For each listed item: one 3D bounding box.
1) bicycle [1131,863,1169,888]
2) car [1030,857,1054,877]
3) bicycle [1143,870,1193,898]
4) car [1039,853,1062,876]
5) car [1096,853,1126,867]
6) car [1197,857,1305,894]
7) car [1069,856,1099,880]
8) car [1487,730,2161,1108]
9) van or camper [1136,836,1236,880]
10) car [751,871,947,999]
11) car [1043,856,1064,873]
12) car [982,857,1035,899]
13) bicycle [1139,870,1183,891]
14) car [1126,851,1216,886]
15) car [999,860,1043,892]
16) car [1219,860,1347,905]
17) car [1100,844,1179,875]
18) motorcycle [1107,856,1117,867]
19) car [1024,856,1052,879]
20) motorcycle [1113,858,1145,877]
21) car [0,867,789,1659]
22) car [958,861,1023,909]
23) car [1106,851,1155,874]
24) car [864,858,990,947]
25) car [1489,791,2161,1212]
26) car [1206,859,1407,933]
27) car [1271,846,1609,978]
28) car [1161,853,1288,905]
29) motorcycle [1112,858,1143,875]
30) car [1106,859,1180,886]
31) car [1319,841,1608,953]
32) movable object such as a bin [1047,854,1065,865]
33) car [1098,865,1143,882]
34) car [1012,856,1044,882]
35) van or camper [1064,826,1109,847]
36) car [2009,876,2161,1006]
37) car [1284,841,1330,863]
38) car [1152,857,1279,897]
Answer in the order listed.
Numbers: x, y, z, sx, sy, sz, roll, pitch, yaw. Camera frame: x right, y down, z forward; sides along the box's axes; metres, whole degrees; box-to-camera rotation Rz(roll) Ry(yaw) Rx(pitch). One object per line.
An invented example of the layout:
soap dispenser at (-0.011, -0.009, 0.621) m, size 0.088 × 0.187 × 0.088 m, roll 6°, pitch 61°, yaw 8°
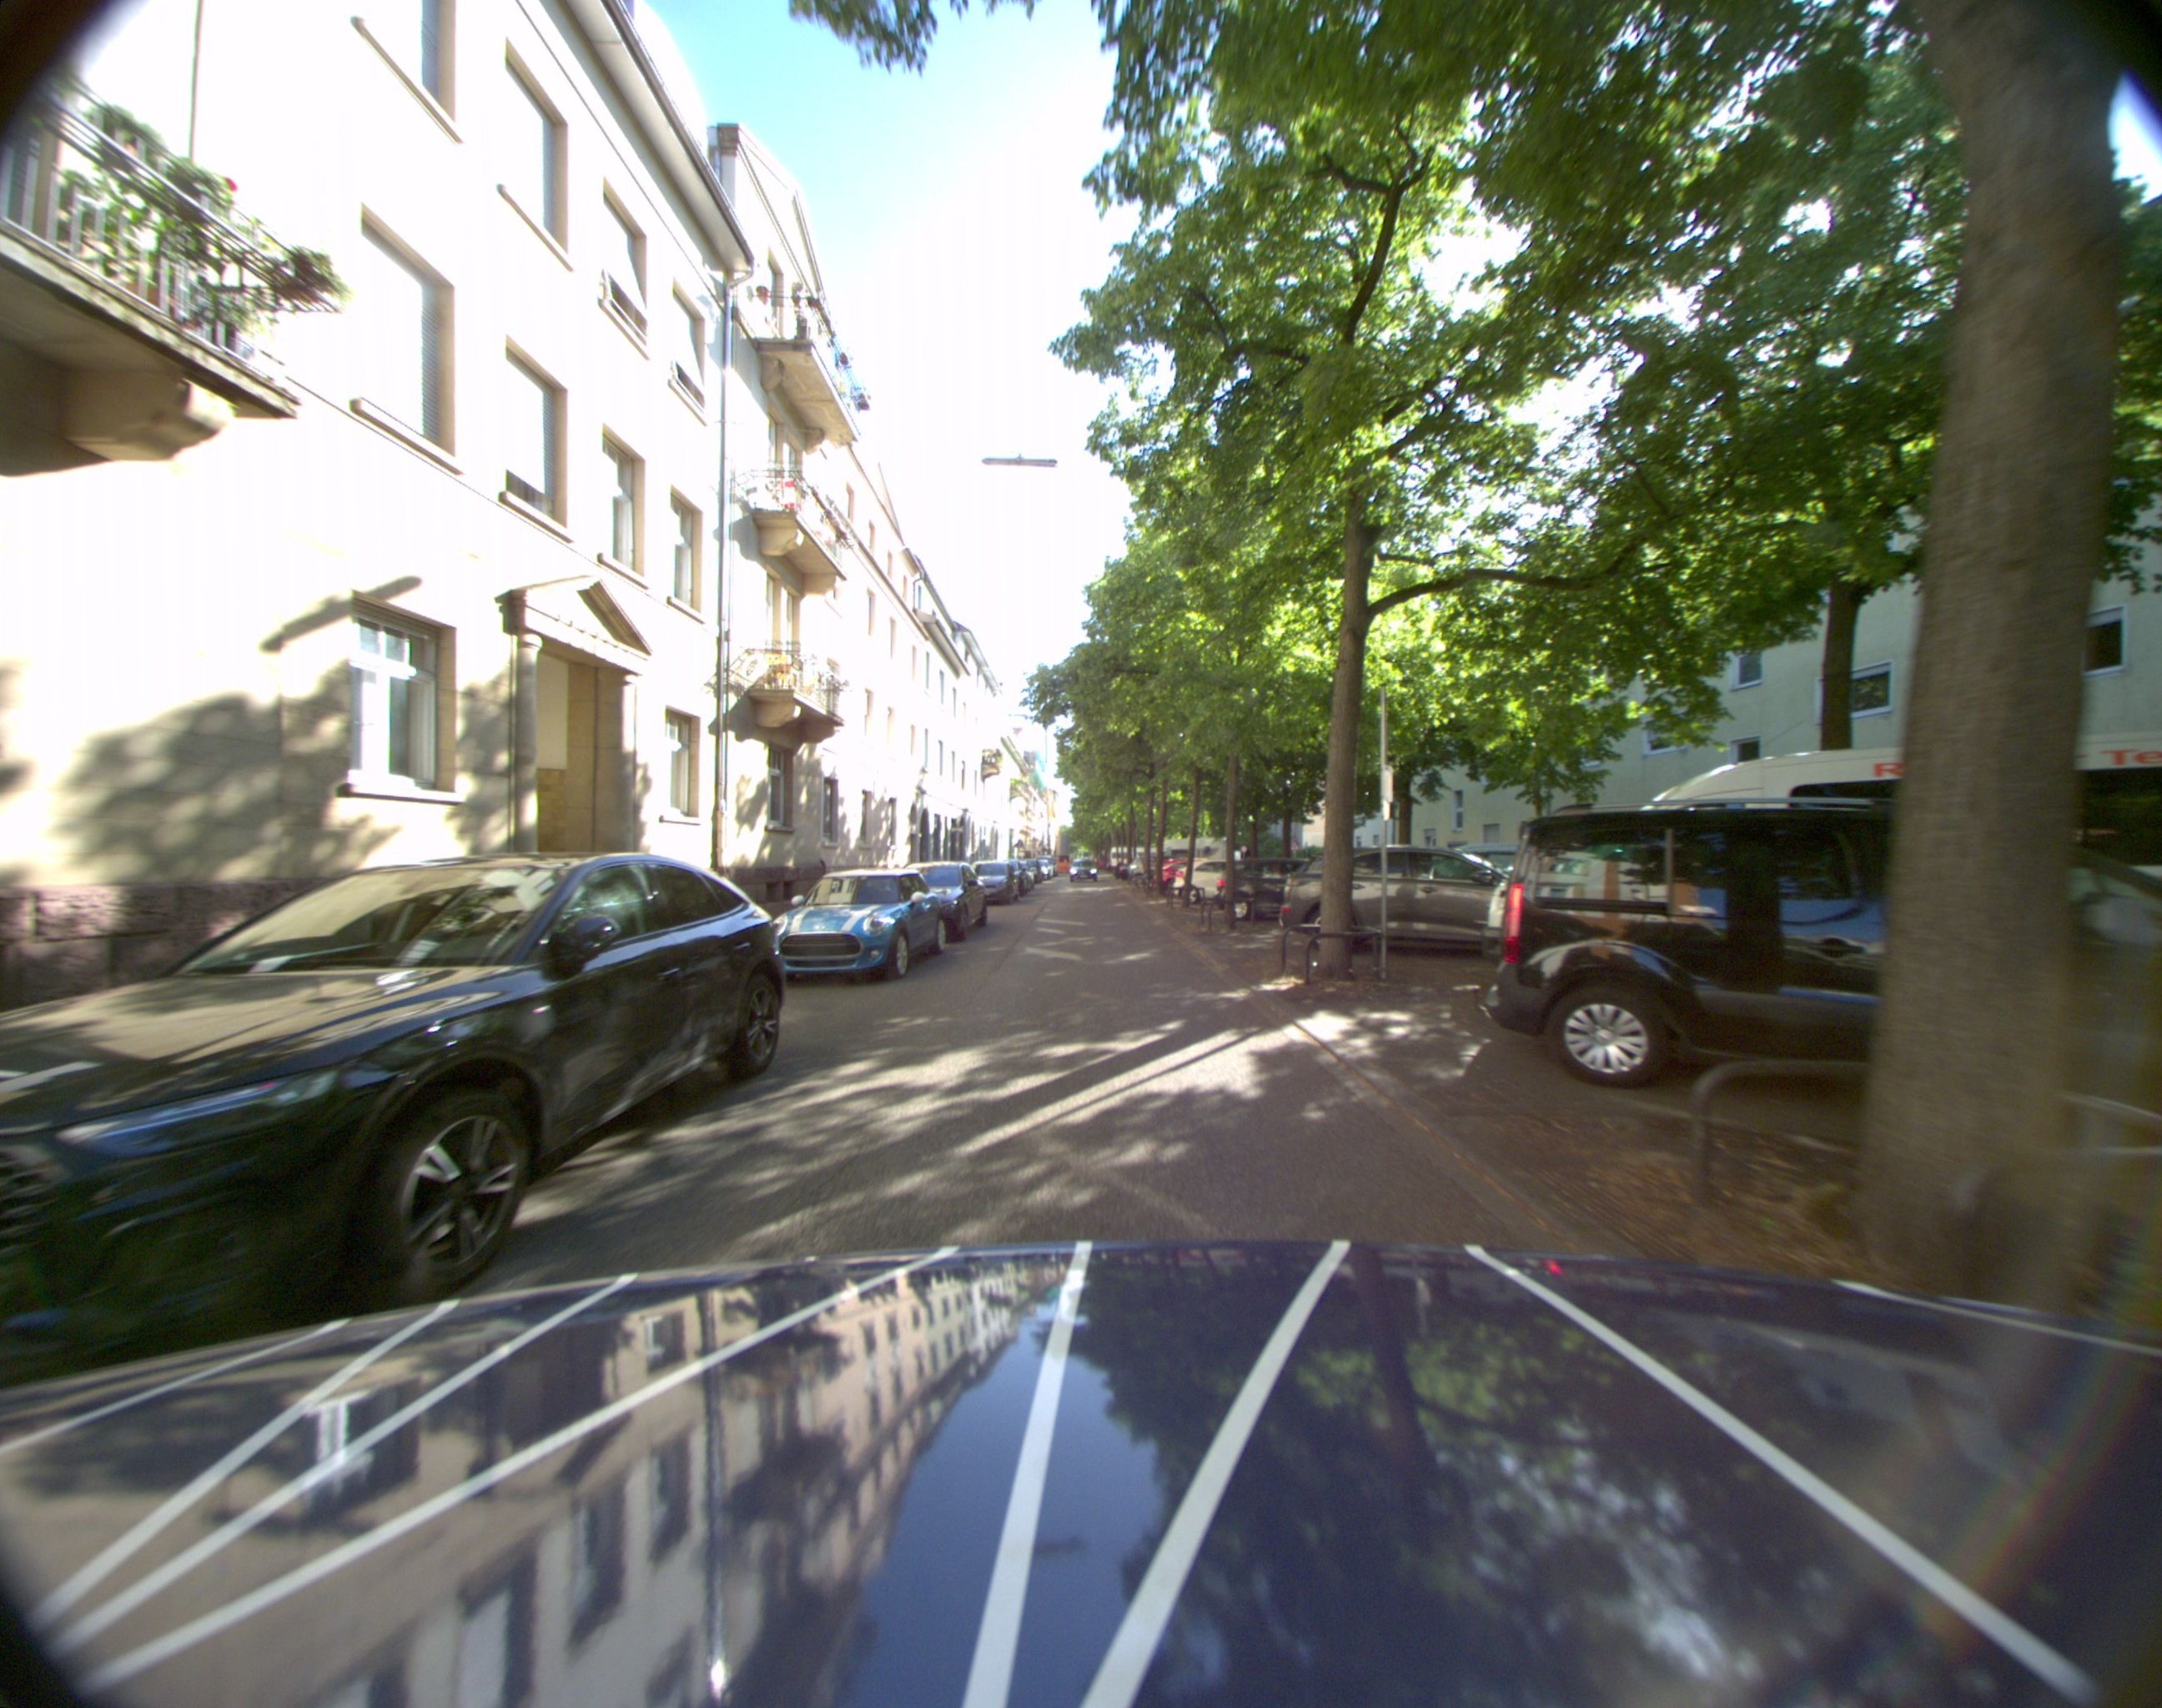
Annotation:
bicycle at (3.217, 1.027, 35.564) m, size 1.687 × 1.152 × 0.379 m, roll -1°, pitch 1°, yaw 20°
car at (-2.930, 0.945, 57.916) m, size 1.611 × 1.412 × 4.568 m, roll 1°, pitch 0°, yaw -1°
bicycle at (3.315, 1.141, 28.845) m, size 1.813 × 0.988 × 0.426 m, roll 1°, pitch 0°, yaw 15°
car at (-2.508, 0.840, 63.542) m, size 1.776 × 1.783 × 3.989 m, roll 1°, pitch 0°, yaw -1°
car at (4.859, 0.989, 123.735) m, size 4.386 × 2.155 × 1.774 m, roll 1°, pitch 0°, yaw 27°
car at (7.248, 0.862, 32.440) m, size 4.105 × 1.464 × 1.875 m, roll 0°, pitch 0°, yaw 29°
car at (0.235, 0.897, 50.542) m, size 1.792 × 1.510 × 4.001 m, roll 1°, pitch 0°, yaw 3°
car at (7.250, 0.434, 6.860) m, size 6.067 × 2.607 × 2.460 m, roll 1°, pitch 1°, yaw 33°
van or camper at (7.168, 0.295, 52.009) m, size 6.290 × 2.808 × 2.412 m, roll -1°, pitch 0°, yaw 29°
car at (-3.099, 1.016, 10.908) m, size 1.594 × 1.407 × 3.632 m, roll -1°, pitch 0°, yaw 1°
car at (-2.435, 0.947, 68.816) m, size 1.709 × 1.502 × 4.283 m, roll 1°, pitch 0°, yaw 0°
car at (-2.953, 0.951, 31.625) m, size 1.772 × 1.542 × 4.183 m, roll -2°, pitch 0°, yaw 0°
bicycle at (3.524, 1.175, 33.575) m, size 1.900 × 0.913 × 0.379 m, roll -1°, pitch 1°, yaw 20°
car at (4.488, 0.729, 37.913) m, size 4.078 × 1.643 × 1.866 m, roll -1°, pitch 0°, yaw 27°
car at (-2.860, 1.025, 36.925) m, size 1.774 × 1.423 × 4.291 m, roll 0°, pitch 0°, yaw 0°
car at (7.055, 0.954, 26.651) m, size 3.988 × 1.427 × 1.801 m, roll 0°, pitch 0°, yaw 34°
car at (4.937, 0.417, 64.911) m, size 6.310 × 2.544 × 2.343 m, roll 0°, pitch 1°, yaw 32°
motorcycle at (3.572, 0.854, 87.335) m, size 0.631 × 1.317 × 2.231 m, roll 1°, pitch 0°, yaw 15°
car at (-2.931, 0.901, 52.646) m, size 1.603 × 1.484 × 3.966 m, roll 1°, pitch 0°, yaw 1°
motorcycle at (3.416, 0.967, 53.832) m, size 2.151 × 1.223 × 0.882 m, roll -2°, pitch 1°, yaw 9°
car at (-3.222, 0.940, 3.841) m, size 1.869 × 1.634 × 4.490 m, roll -1°, pitch 0°, yaw -2°
car at (-3.000, 0.993, 25.953) m, size 1.696 × 1.459 × 4.005 m, roll -1°, pitch 0°, yaw 0°
car at (3.678, 0.607, 56.871) m, size 1.667 × 1.608 × 3.870 m, roll 1°, pitch 0°, yaw -31°
car at (-3.039, 0.899, 15.894) m, size 1.810 × 1.554 × 4.320 m, roll 1°, pitch 0°, yaw -1°
car at (4.738, 0.671, 4.565) m, size 3.840 × 1.877 × 1.848 m, roll 0°, pitch -1°, yaw 34°
car at (5.129, 0.873, 17.427) m, size 4.098 × 1.473 × 1.735 m, roll 0°, pitch 1°, yaw 31°
car at (5.202, 0.752, 11.289) m, size 4.264 × 1.632 × 1.658 m, roll -1°, pitch 0°, yaw 33°
car at (4.661, 0.792, 24.693) m, size 3.685 × 1.586 × 1.776 m, roll -1°, pitch 0°, yaw 25°
motorcycle at (3.757, 1.040, 61.215) m, size 2.327 × 1.327 × 0.968 m, roll 1°, pitch 1°, yaw -9°
car at (3.595, 1.058, 44.245) m, size 4.008 × 1.465 × 1.630 m, roll 1°, pitch 0°, yaw 35°
car at (6.779, 0.655, 13.803) m, size 4.382 × 1.767 × 1.903 m, roll 1°, pitch 1°, yaw 28°
movable object such as a bin at (-3.518, 0.770, 105.613) m, size 1.872 × 1.518 × 1.631 m, roll 1°, pitch 0°, yaw 34°
car at (3.898, 1.944, 75.275) m, size 4.090 × 1.516 × 1.705 m, roll -4°, pitch -2°, yaw 30°
car at (-3.208, 0.883, 46.677) m, size 1.584 × 1.541 × 4.042 m, roll 0°, pitch 0°, yaw 1°
van or camper at (0.784, -2.518, 108.787) m, size 6.016 × 2.984 × 2.404 m, roll 1°, pitch 0°, yaw 29°
car at (15.479, 1.215, 9.641) m, size 1.746 × 1.712 × 4.558 m, roll 2°, pitch 0°, yaw -1°
car at (15.692, -0.111, 52.959) m, size 1.754 × 1.427 × 4.081 m, roll 2°, pitch 0°, yaw -2°
car at (5.297, 0.896, 30.151) m, size 4.616 × 1.477 × 1.764 m, roll -1°, pitch 0°, yaw 34°
